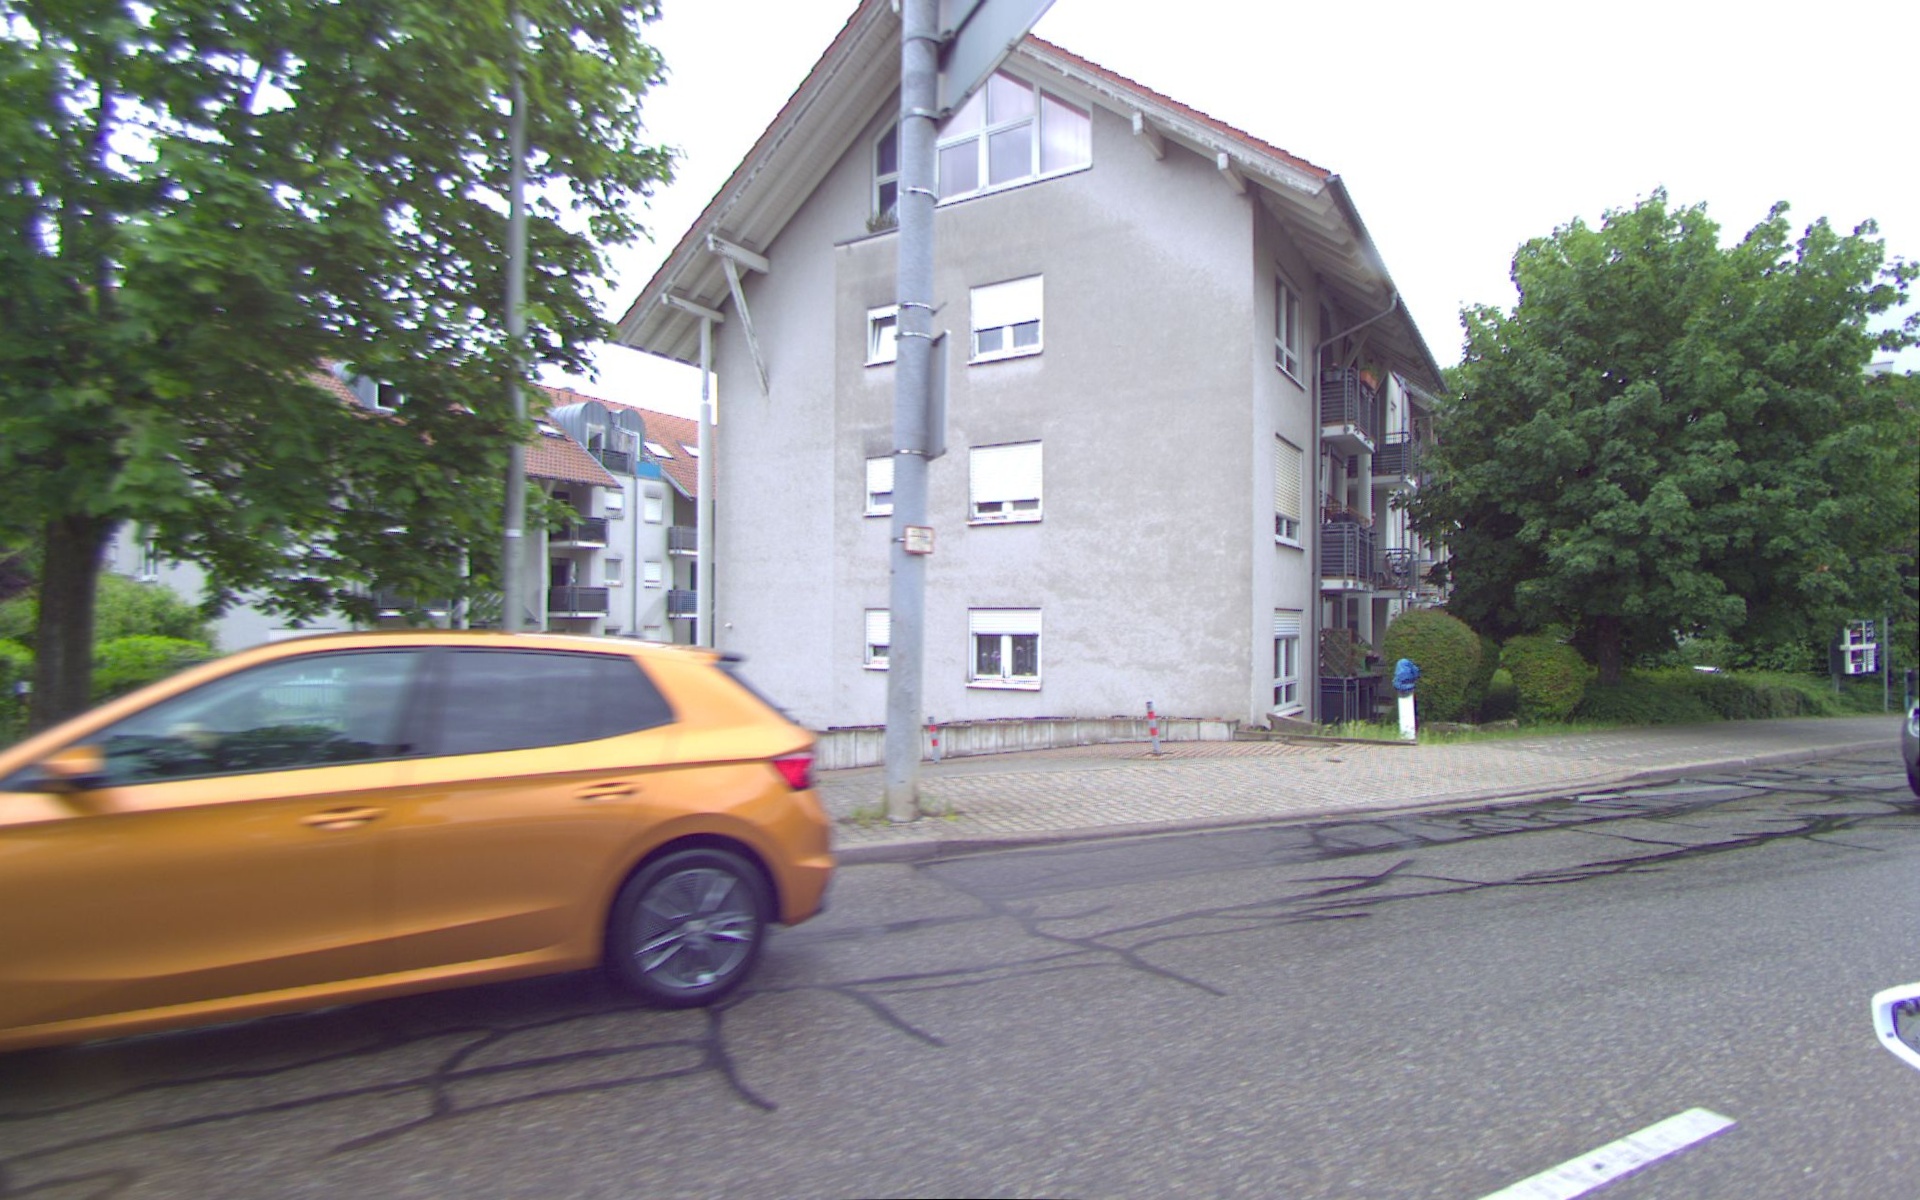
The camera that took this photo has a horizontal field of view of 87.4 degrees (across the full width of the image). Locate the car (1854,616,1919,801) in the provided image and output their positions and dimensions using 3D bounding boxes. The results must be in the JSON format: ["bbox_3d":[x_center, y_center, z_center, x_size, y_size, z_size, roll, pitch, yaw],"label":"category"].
[{"bbox_3d":[10.757,1.023,9.506,4.057,1.679,1.897,1,-2,-23],"label":"car"}]

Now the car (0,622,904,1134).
[{"bbox_3d":[-2.463,0.841,4.097,4.062,1.458,1.895,2,-2,-27],"label":"car"}]
